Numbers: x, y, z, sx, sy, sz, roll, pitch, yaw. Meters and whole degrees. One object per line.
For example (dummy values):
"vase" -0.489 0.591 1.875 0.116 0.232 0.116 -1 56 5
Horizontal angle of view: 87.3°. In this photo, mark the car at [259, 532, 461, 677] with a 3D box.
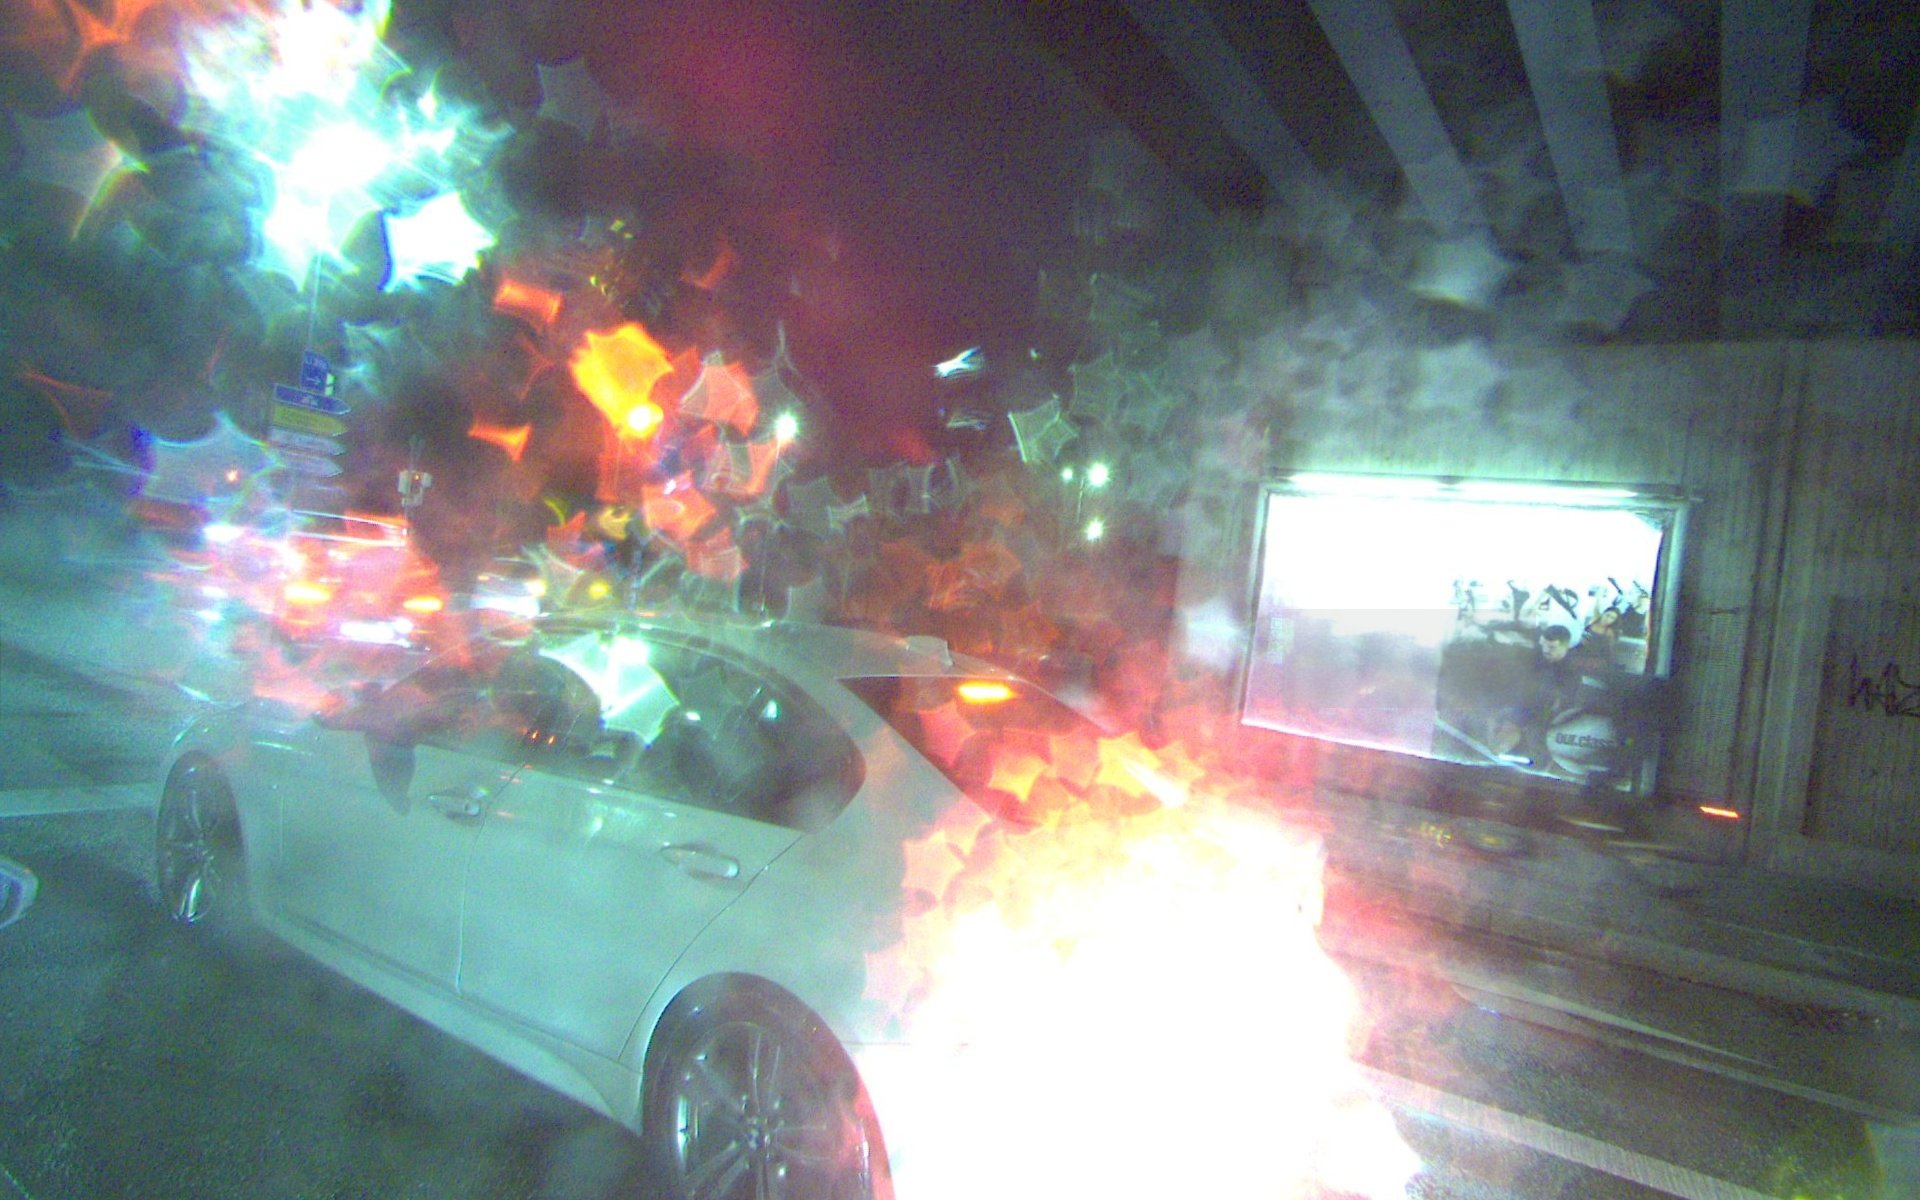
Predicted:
"car" -8.052 -0.035 13.291 1.743 1.406 4.521 9 -2 -36

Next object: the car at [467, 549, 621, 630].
"car" -9.614 -0.169 23.581 1.607 1.475 3.598 7 -2 7

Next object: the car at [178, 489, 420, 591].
"car" -18.027 -1.572 27.722 1.968 2.008 5.098 7 -1 33

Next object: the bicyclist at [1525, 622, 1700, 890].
"bicyclist" 4.873 1.129 7.569 0.886 1.783 0.798 6 -1 31

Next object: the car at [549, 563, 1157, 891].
"car" -0.723 0.725 6.988 3.692 1.448 1.756 7 -1 24

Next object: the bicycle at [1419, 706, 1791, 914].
"bicycle" 4.754 1.494 7.602 2.171 1.070 0.798 6 -2 32

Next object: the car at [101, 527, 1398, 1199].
"car" -0.976 0.705 3.489 4.277 1.420 1.720 6 -2 32
